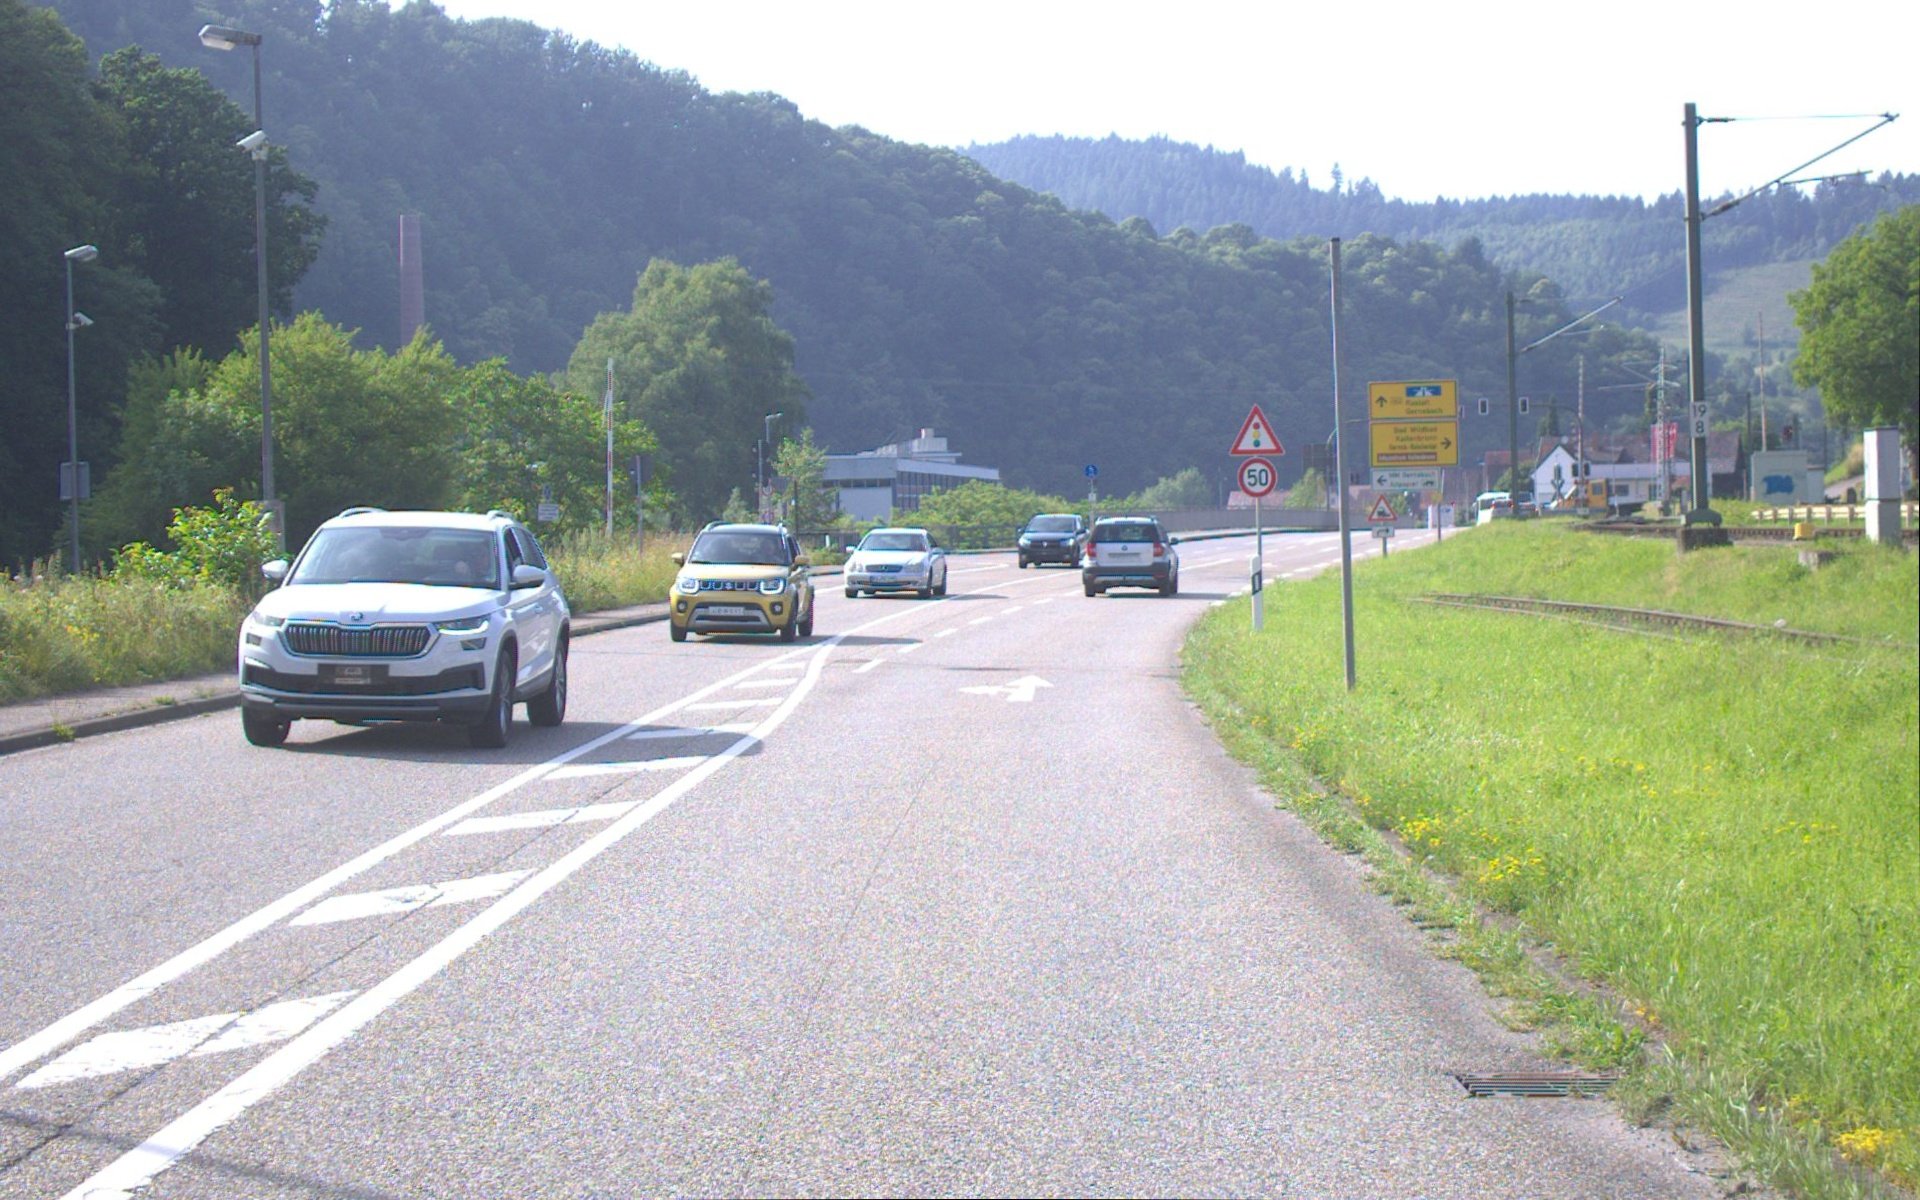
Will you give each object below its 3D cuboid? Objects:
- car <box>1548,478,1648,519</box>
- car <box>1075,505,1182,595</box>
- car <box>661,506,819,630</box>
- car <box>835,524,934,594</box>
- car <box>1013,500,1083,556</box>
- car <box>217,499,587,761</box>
[{"bbox_3d":[36.454,-5.786,196.430,5.283,2.006,1.998,-3,1,20],"label":"car"},{"bbox_3d":[3.500,-1.066,71.931,1.993,1.717,3.990,-3,1,1],"label":"car"},{"bbox_3d":[-2.970,-0.474,47.005,1.724,1.619,3.796,0,2,3],"label":"car"},{"bbox_3d":[-1.509,-0.865,70.444,1.778,1.343,4.511,1,2,2],"label":"car"},{"bbox_3d":[2.560,-2.102,99.717,1.847,1.579,4.316,0,2,4],"label":"car"},{"bbox_3d":[-4.011,0.159,25.436,1.993,1.752,4.470,0,1,0],"label":"car"}]
